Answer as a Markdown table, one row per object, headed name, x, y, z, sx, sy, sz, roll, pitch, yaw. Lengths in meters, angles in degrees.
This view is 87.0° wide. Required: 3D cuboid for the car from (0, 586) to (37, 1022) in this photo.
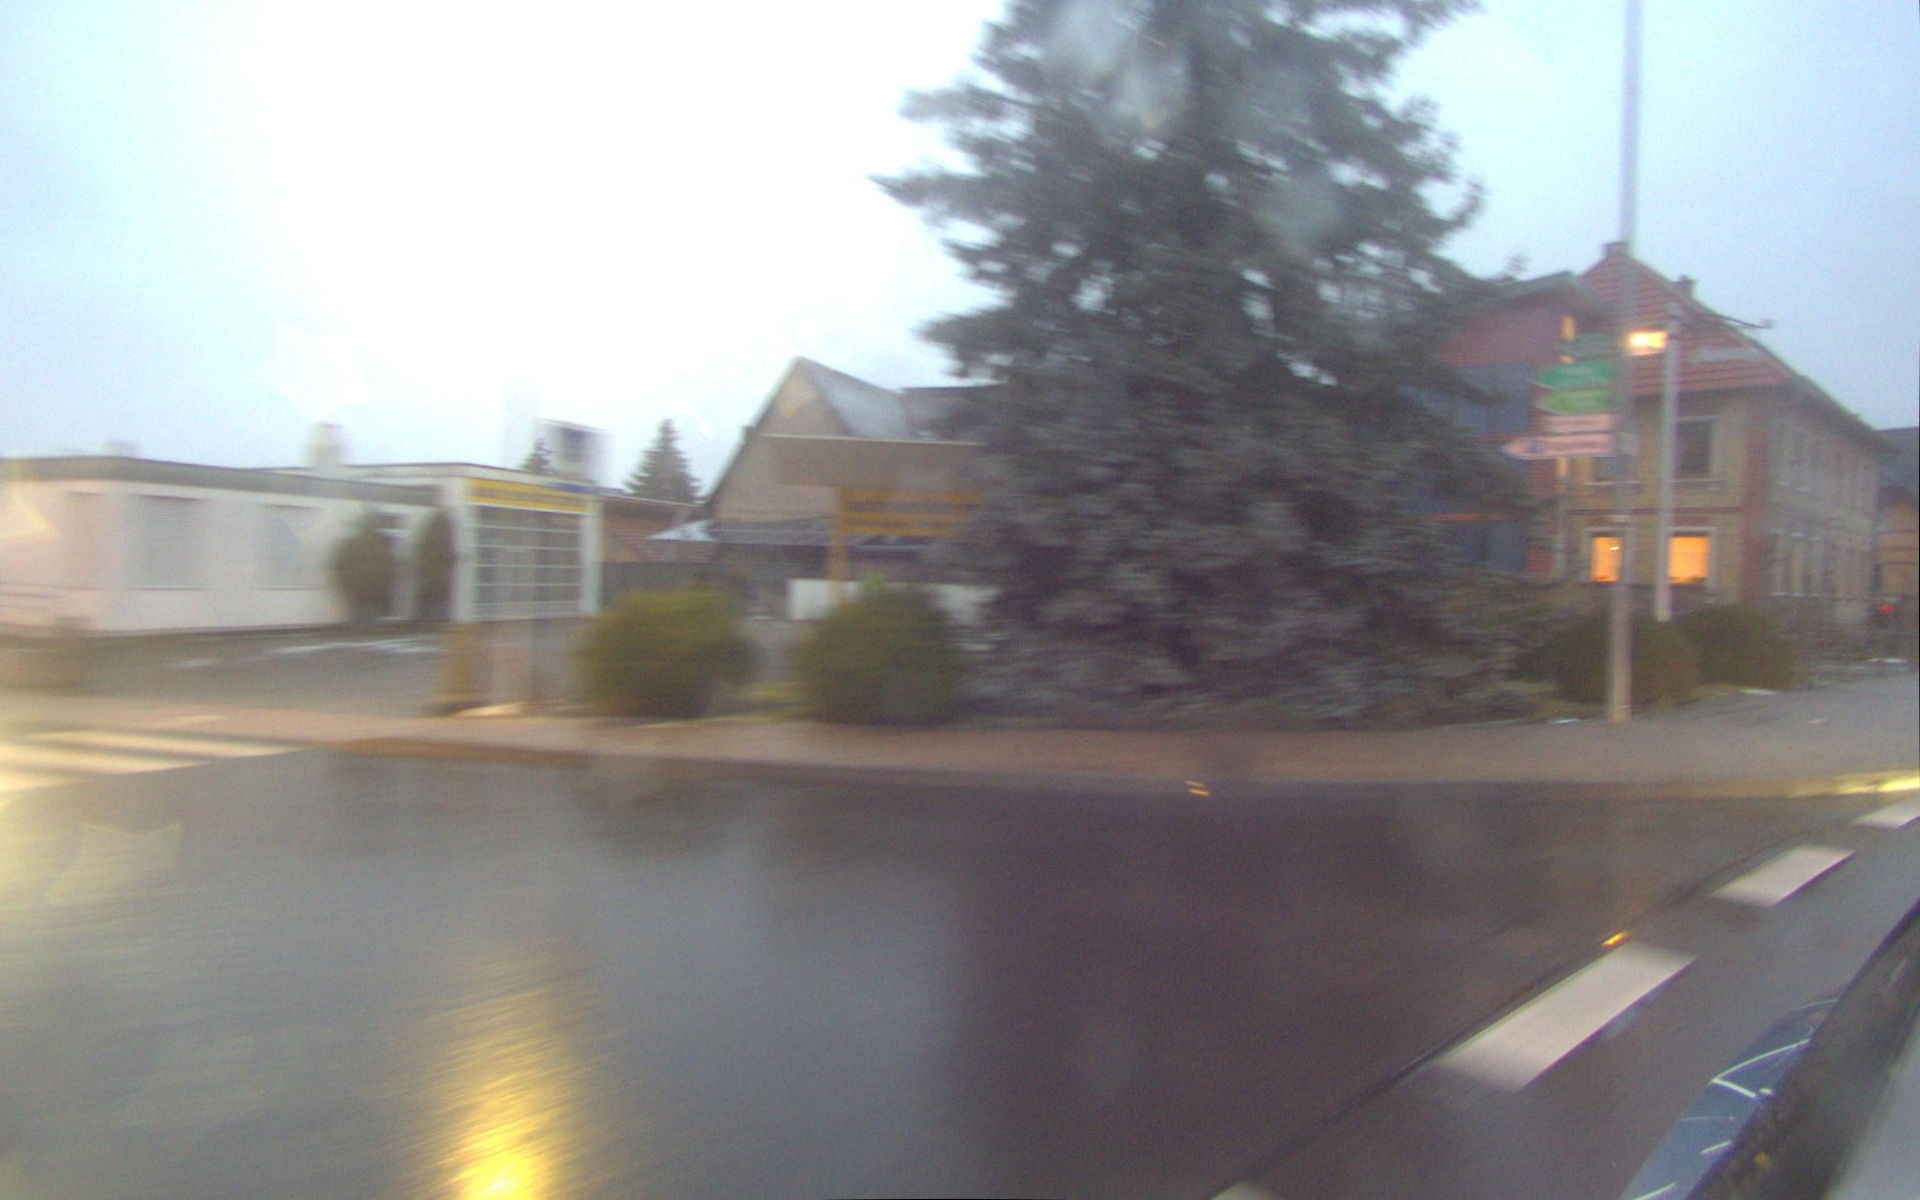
| name | x | y | z | sx | sy | sz | roll | pitch | yaw |
| --- | --- | --- | --- | --- | --- | --- | --- | --- | --- |
| car | -5.368 | 0.671 | 3.887 | 4.155 | 1.459 | 1.775 | 0 | -1 | 34 |
